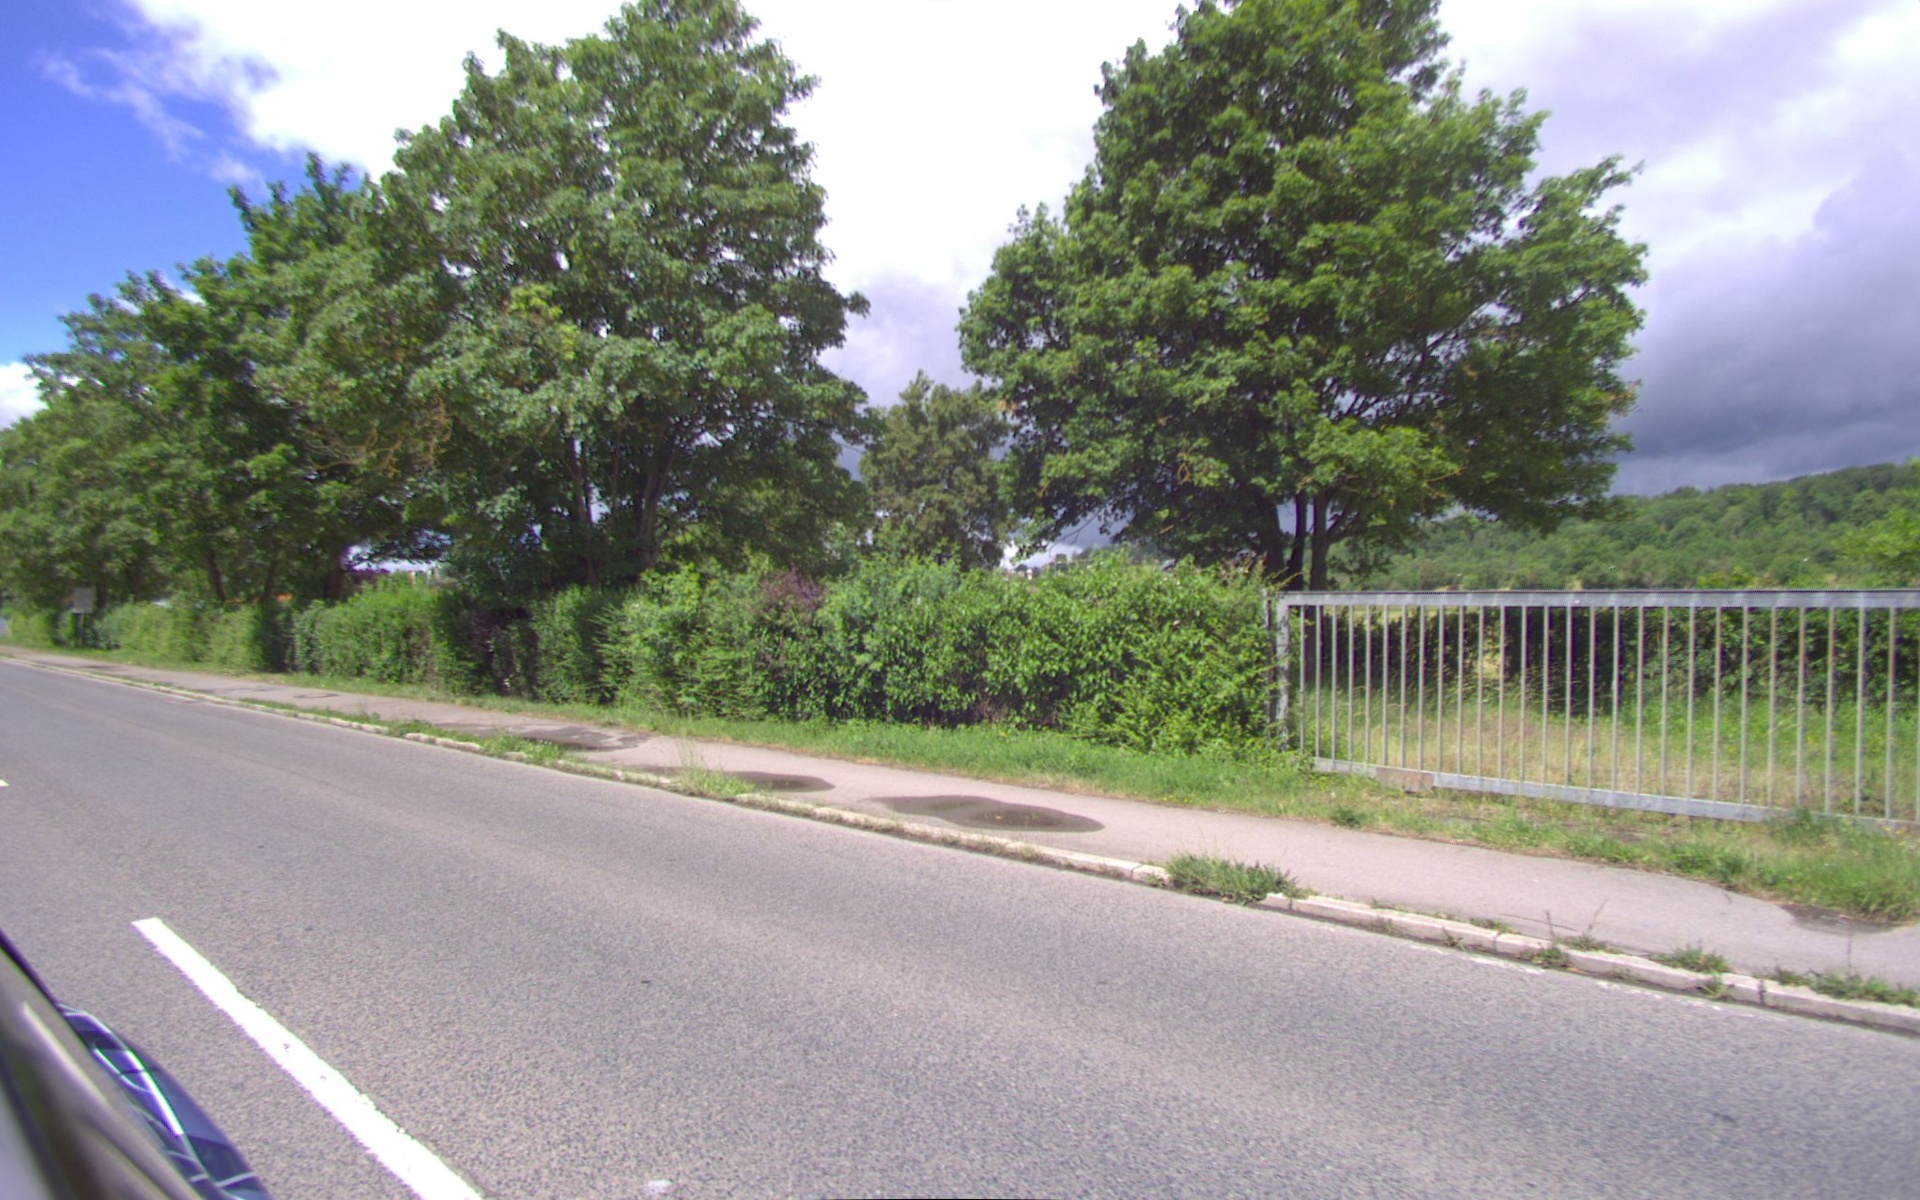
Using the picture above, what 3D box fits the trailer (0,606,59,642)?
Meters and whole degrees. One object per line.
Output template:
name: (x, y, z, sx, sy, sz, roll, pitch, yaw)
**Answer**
trailer: (-110.702, 2.785, 116.901, 3.301, 4.114, 9.386, 0, -2, 25)
